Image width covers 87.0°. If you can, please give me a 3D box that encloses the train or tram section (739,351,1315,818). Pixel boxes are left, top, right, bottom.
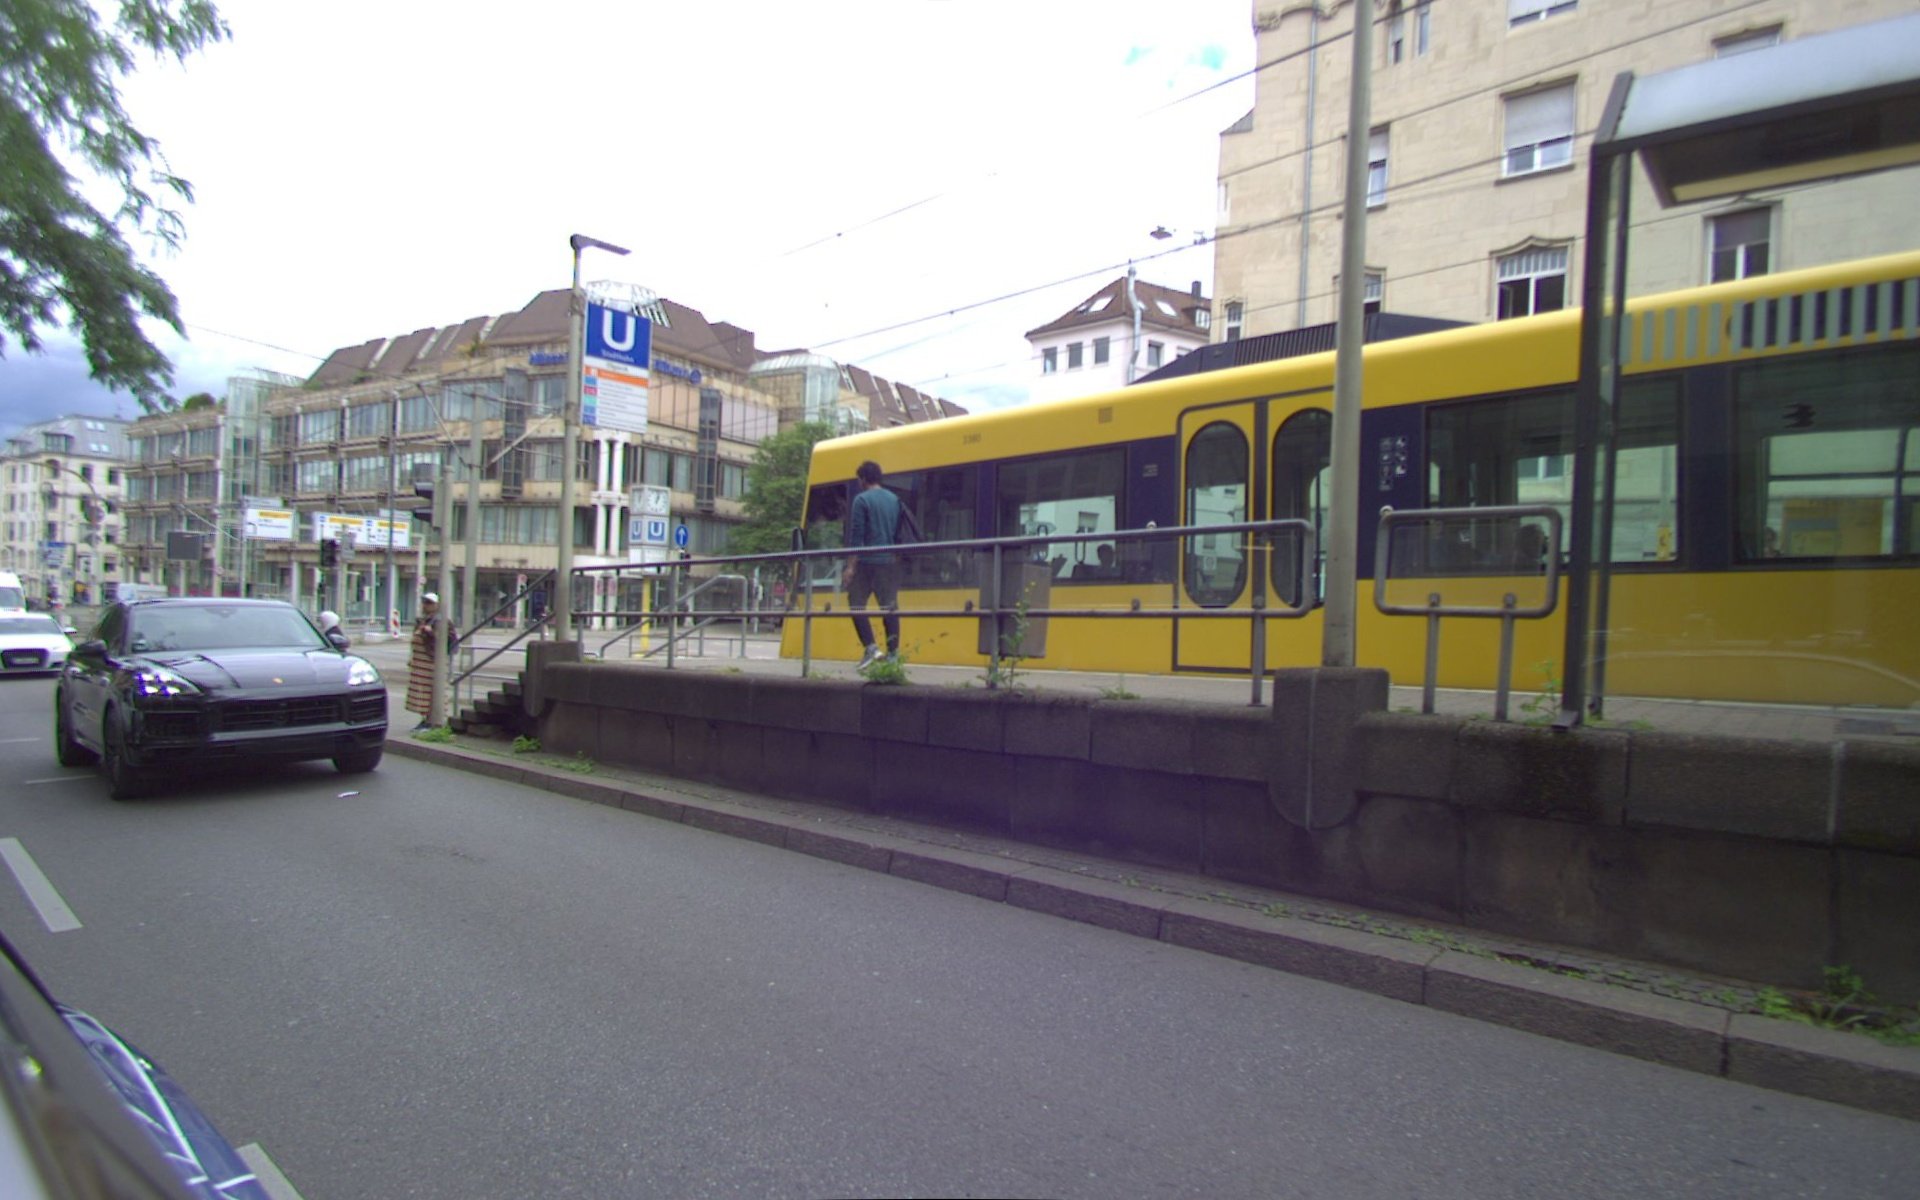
[{"bbox_3d":[0.477,-0.100,11.005,5.750,3.707,2.805,-1,-1,42],"label":"train or tram section"}]

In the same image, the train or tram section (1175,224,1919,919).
[{"bbox_3d":[4.775,-0.130,7.163,5.750,3.547,2.805,-1,-1,42],"label":"train or tram section"}]

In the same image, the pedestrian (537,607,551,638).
[{"bbox_3d":[-23.982,1.279,58.351,0.577,1.793,0.504,0,-1,43],"label":"pedestrian"}]

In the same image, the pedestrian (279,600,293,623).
[{"bbox_3d":[-54.448,0.929,81.712,0.738,1.825,0.724,0,0,36],"label":"pedestrian"}]

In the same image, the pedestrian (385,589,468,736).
[{"bbox_3d":[-6.528,0.748,12.385,0.711,1.724,0.678,-1,-2,41],"label":"pedestrian"}]

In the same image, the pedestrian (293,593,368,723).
[{"bbox_3d":[-8.676,0.783,13.946,0.871,1.724,0.629,-1,-2,41],"label":"pedestrian"}]

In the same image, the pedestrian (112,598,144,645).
[{"bbox_3d":[-31.429,0.799,38.235,0.772,1.734,0.783,0,-1,41],"label":"pedestrian"}]

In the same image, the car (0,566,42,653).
[{"bbox_3d":[-32.910,0.291,34.075,5.936,2.780,2.252,1,0,41],"label":"car"}]

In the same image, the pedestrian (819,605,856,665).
[{"bbox_3d":[-3.587,1.021,29.602,0.862,1.718,0.815,1,-1,-20],"label":"pedestrian"}]

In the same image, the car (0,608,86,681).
[{"bbox_3d":[-22.126,0.978,23.625,3.995,1.542,1.926,1,0,39],"label":"car"}]

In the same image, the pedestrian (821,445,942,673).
[{"bbox_3d":[-0.639,-0.317,8.221,0.670,1.744,0.710,0,0,42],"label":"pedestrian"}]

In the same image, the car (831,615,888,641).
[{"bbox_3d":[-6.431,1.771,65.189,1.940,1.542,3.965,0,0,25],"label":"car"}]

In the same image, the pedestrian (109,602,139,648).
[{"bbox_3d":[-31.971,0.965,38.707,0.637,1.734,0.756,0,-1,41],"label":"pedestrian"}]

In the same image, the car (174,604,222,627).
[{"bbox_3d":[-60.371,1.201,80.146,4.770,1.772,1.659,1,0,35],"label":"car"}]

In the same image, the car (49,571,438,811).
[{"bbox_3d":[-7.099,0.684,9.734,5.353,1.688,2.060,-1,-1,44],"label":"car"}]

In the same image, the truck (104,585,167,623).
[{"bbox_3d":[-72.796,0.309,89.303,7.357,3.099,2.247,1,-3,35],"label":"truck"}]
